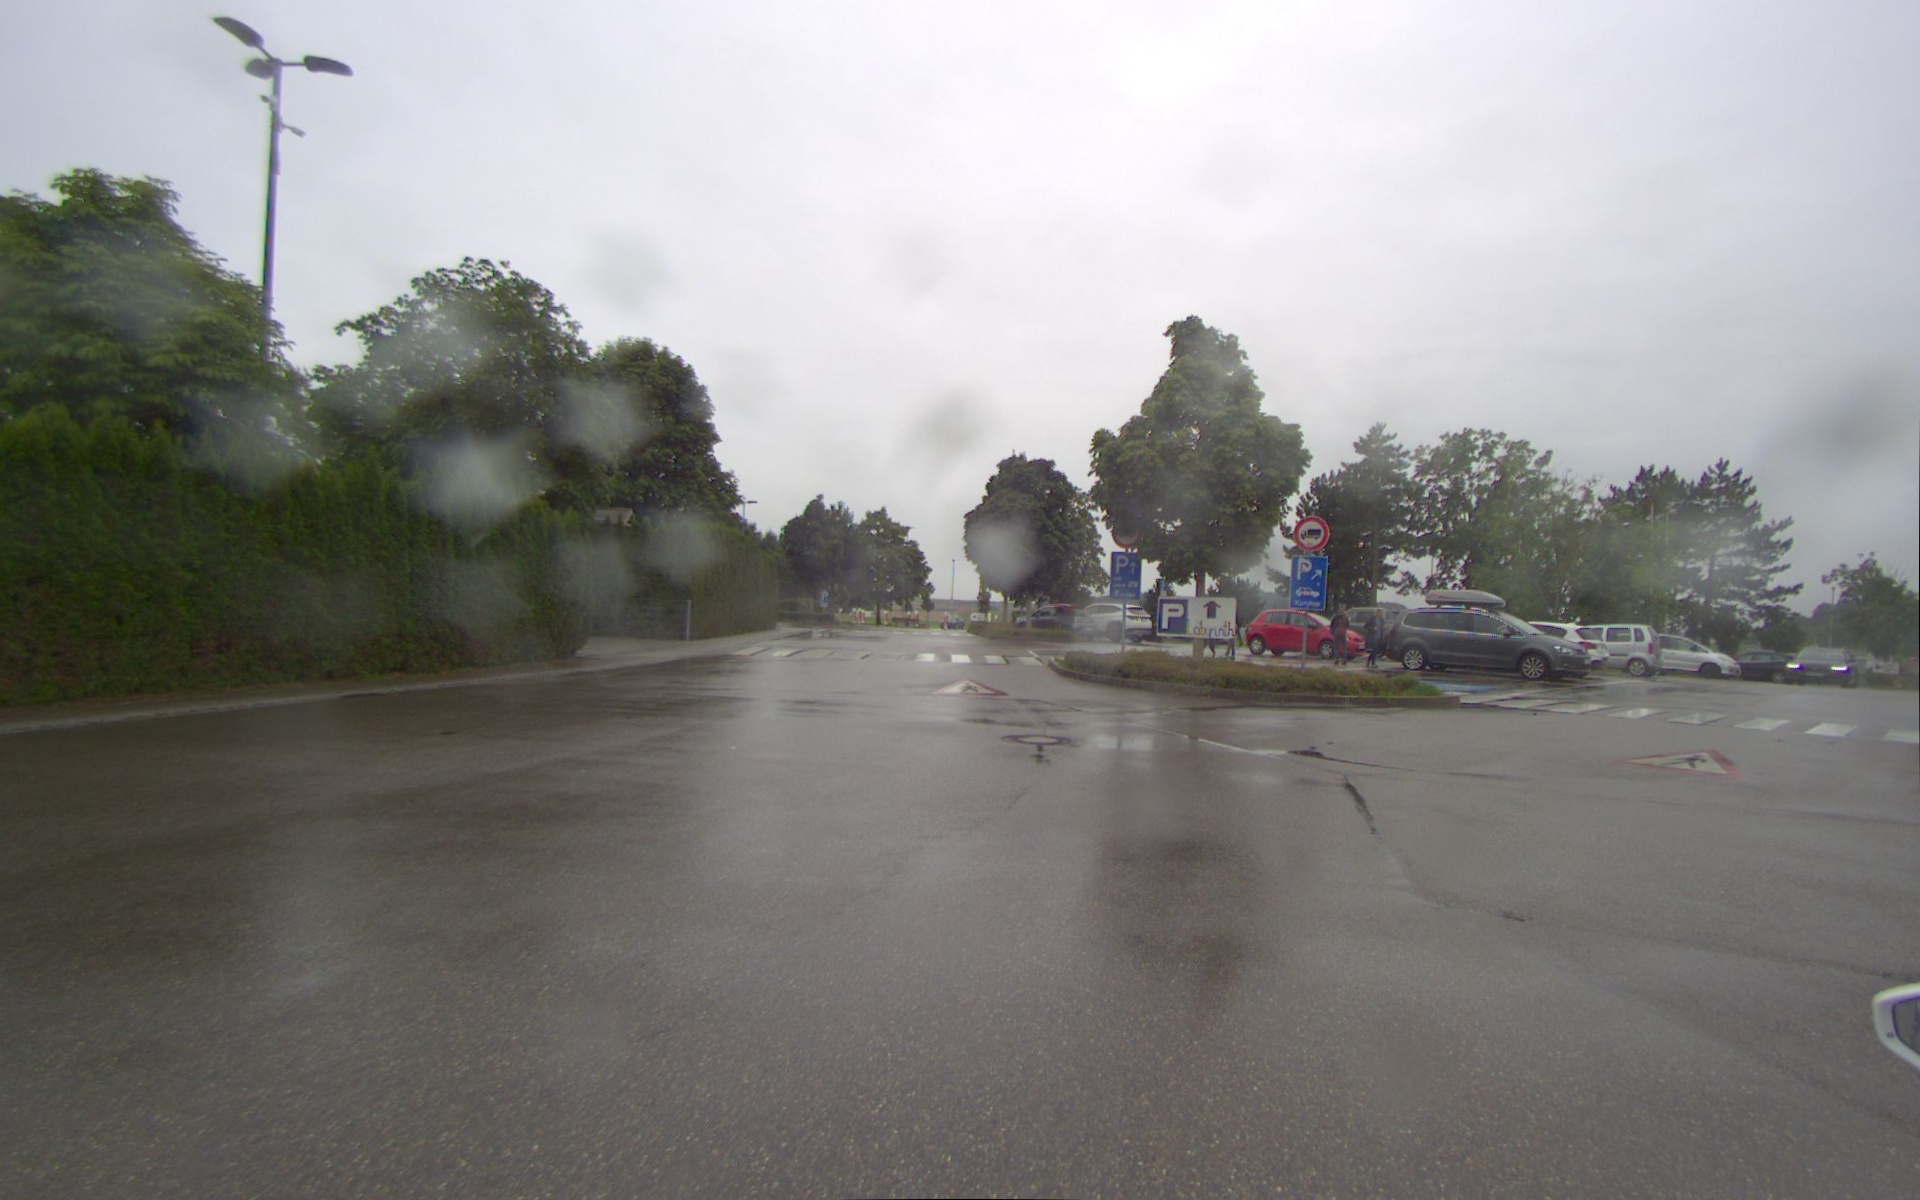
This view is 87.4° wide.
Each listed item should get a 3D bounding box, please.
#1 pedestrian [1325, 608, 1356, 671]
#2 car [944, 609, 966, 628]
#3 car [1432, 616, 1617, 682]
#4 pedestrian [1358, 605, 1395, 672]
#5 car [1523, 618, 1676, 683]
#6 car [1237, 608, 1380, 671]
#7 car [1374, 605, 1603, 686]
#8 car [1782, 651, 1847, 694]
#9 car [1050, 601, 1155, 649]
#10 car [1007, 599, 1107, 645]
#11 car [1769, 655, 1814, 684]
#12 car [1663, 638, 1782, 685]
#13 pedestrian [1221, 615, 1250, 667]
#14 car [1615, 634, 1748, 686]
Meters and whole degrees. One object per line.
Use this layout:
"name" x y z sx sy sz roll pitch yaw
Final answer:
"pedestrian" 10.466 1.083 27.624 0.702 1.660 0.646 2 -2 24
"car" -0.594 2.190 117.390 1.674 2.040 4.003 4 -1 12
"car" 15.577 1.286 27.885 1.731 1.537 4.144 1 1 -43
"pedestrian" 11.198 1.037 27.009 0.673 1.747 0.608 3 -1 41
"car" 21.251 1.655 33.470 1.839 1.886 3.970 5 -2 -45
"car" 11.294 1.224 32.686 1.839 1.816 3.970 1 0 -45
"car" 13.652 1.104 26.167 1.987 1.816 4.885 1 0 -45
"car" 32.017 2.737 37.603 1.627 1.388 3.978 3 -2 43
"car" 6.192 1.079 44.010 1.710 1.886 4.310 5 -2 -44
"car" 4.045 0.907 42.230 1.710 1.738 3.973 5 -2 -45
"car" 45.620 3.841 55.096 1.627 1.388 3.792 3 -2 43
"car" 36.564 2.909 48.234 1.839 1.887 4.310 3 0 -45
"pedestrian" 7.559 1.123 27.555 0.632 1.379 0.452 4 -1 5
"car" 30.622 2.518 42.724 1.839 1.886 4.310 5 -2 -45
